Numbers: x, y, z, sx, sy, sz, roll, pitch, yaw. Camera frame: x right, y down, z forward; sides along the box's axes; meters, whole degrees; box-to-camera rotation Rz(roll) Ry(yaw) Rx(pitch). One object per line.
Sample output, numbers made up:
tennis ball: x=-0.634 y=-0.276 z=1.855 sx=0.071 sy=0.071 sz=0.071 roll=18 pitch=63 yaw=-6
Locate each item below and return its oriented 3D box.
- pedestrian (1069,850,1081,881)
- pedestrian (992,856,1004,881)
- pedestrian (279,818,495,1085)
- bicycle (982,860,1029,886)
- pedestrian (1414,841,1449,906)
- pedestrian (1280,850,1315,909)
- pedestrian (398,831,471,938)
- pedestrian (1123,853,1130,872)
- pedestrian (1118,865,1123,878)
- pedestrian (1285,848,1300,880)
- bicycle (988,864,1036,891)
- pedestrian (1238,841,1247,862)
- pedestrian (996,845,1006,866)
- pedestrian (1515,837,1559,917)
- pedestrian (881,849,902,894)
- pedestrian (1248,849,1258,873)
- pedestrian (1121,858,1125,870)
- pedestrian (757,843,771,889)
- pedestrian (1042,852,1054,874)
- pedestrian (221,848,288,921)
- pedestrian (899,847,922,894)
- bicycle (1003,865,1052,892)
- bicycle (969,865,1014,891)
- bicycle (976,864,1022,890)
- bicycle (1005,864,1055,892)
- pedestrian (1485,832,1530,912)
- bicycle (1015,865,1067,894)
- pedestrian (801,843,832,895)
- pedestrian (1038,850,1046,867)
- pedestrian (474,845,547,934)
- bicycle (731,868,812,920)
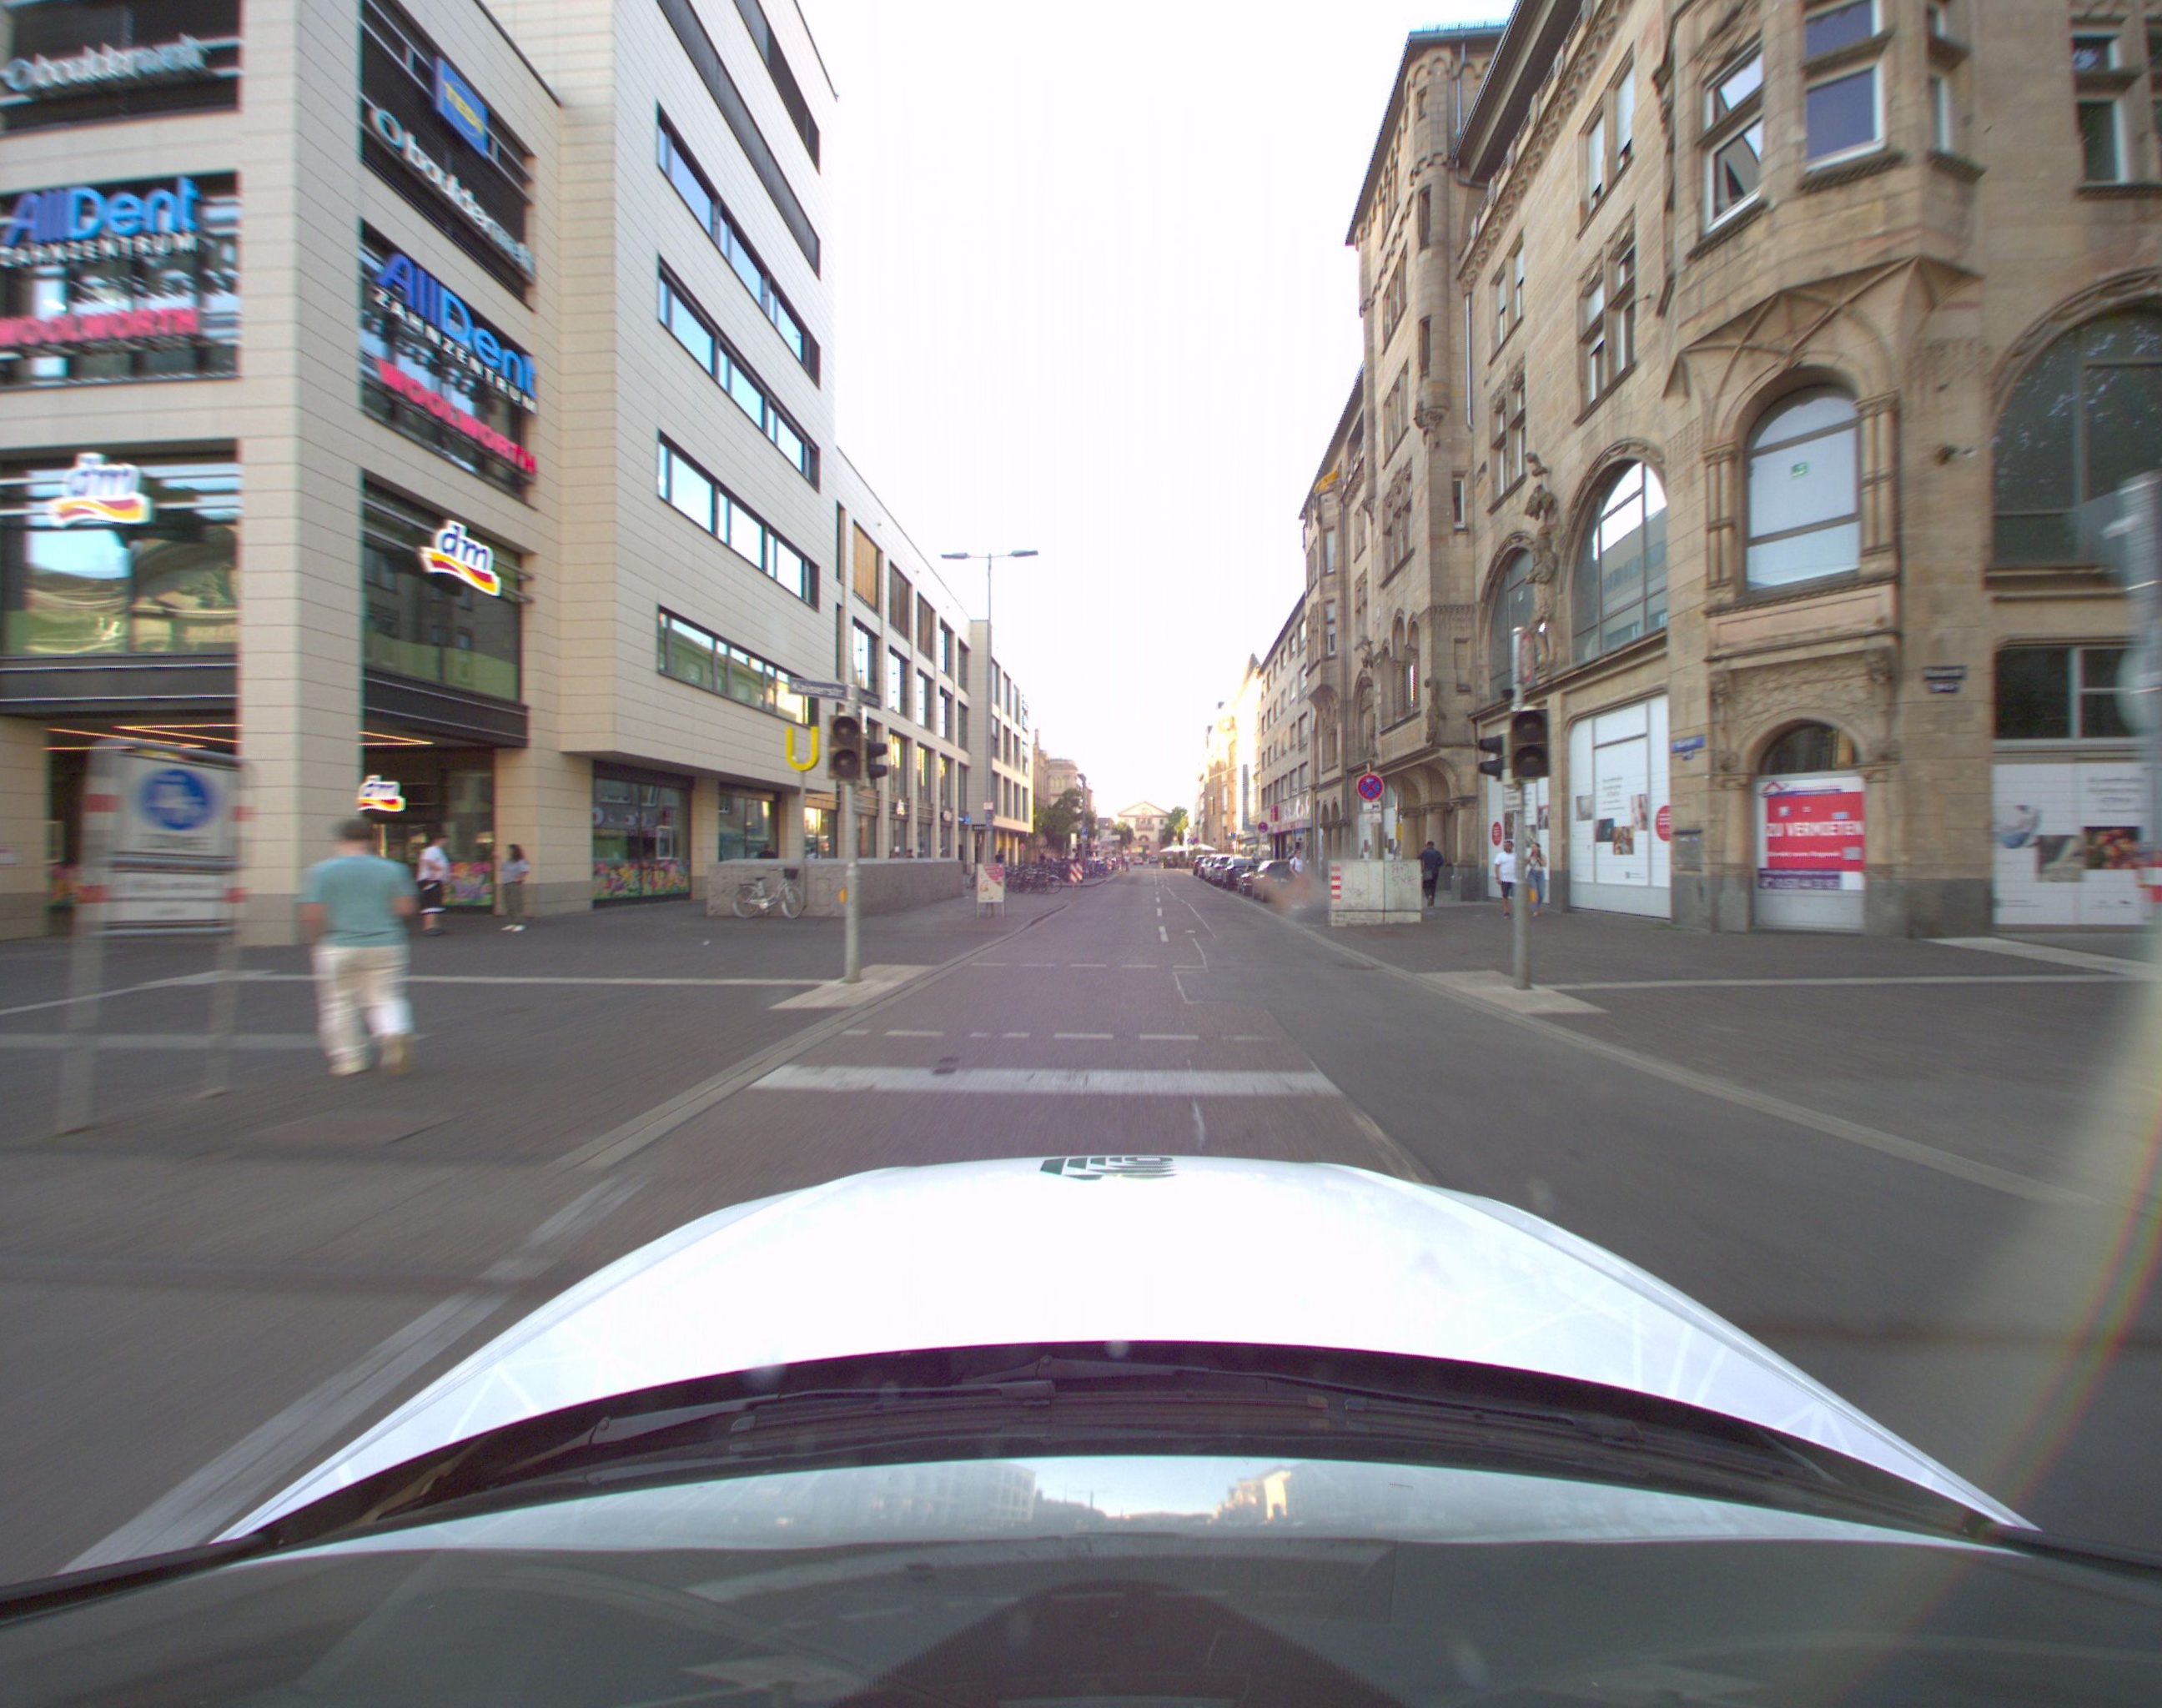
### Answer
pedestrian: x=-0.376 y=0.670 z=47.922 sx=0.656 sy=1.823 sz=0.527 roll=0 pitch=0 yaw=-6
pedestrian: x=-5.392 y=0.944 z=52.702 sx=0.676 sy=1.621 sz=0.574 roll=0 pitch=0 yaw=4
pedestrian: x=-4.916 y=0.650 z=5.844 sx=0.866 sy=1.761 sz=0.765 roll=1 pitch=0 yaw=-11
bicycle: x=-3.298 y=0.833 z=35.666 sx=1.976 sy=1.121 sz=0.554 roll=1 pitch=0 yaw=-24
pedestrian: x=9.170 y=0.501 z=21.320 sx=0.622 sy=1.690 sz=0.672 roll=0 pitch=0 yaw=3
pedestrian: x=6.390 y=0.746 z=24.108 sx=0.832 sy=1.720 sz=0.681 roll=0 pitch=0 yaw=-3
pedestrian: x=-11.611 y=0.525 z=14.644 sx=0.568 sy=1.855 sz=0.820 roll=1 pitch=0 yaw=17
pedestrian: x=4.232 y=0.803 z=75.982 sx=0.595 sy=1.823 sz=0.453 roll=0 pitch=0 yaw=12
pedestrian: x=4.681 y=2.094 z=96.826 sx=0.547 sy=1.486 sz=0.566 roll=0 pitch=0 yaw=3
pedestrian: x=11.300 y=0.534 z=43.555 sx=0.641 sy=1.690 sz=0.672 roll=0 pitch=0 yaw=3
bicycle: x=-2.956 y=1.030 z=34.995 sx=1.976 sy=1.121 sz=0.554 roll=1 pitch=0 yaw=-24
pedestrian: x=13.637 y=-0.227 z=68.950 sx=0.641 sy=1.746 sz=0.672 roll=0 pitch=0 yaw=3
pedestrian: x=-6.399 y=0.122 z=65.258 sx=0.727 sy=1.621 sz=0.662 roll=0 pitch=0 yaw=4
pedestrian: x=9.849 y=0.494 z=17.611 sx=0.622 sy=1.690 sz=0.626 roll=0 pitch=0 yaw=3
pedestrian: x=-6.986 y=0.640 z=29.979 sx=0.597 sy=1.646 sz=0.546 roll=1 pitch=0 yaw=2
pedestrian: x=13.221 y=0.516 z=62.704 sx=0.641 sy=1.800 sz=0.672 roll=0 pitch=0 yaw=3
pedestrian: x=4.922 y=1.188 z=95.639 sx=0.547 sy=1.486 sz=0.566 roll=0 pitch=0 yaw=3
pedestrian: x=-10.653 y=0.407 z=27.413 sx=0.390 sy=1.515 sz=0.503 roll=0 pitch=0 yaw=-16
pedestrian: x=-2.259 y=0.617 z=55.736 sx=0.748 sy=1.529 sz=0.485 roll=0 pitch=0 yaw=4
pedestrian: x=-17.747 y=0.638 z=17.502 sx=0.568 sy=1.526 sz=0.794 roll=1 pitch=0 yaw=17
pedestrian: x=-6.245 y=0.592 z=29.852 sx=0.678 sy=1.680 sz=0.600 roll=1 pitch=0 yaw=2
bicycle: x=-2.231 y=1.034 z=34.056 sx=1.976 sy=1.121 sz=0.554 roll=1 pitch=0 yaw=-24
bicycle: x=-4.053 y=1.099 z=36.905 sx=1.976 sy=1.121 sz=0.554 roll=1 pitch=0 yaw=-24
bicycle: x=-3.644 y=1.038 z=36.335 sx=1.976 sy=1.121 sz=0.554 roll=1 pitch=0 yaw=-24
bicycle: x=-2.091 y=0.990 z=33.379 sx=1.976 sy=1.121 sz=0.554 roll=1 pitch=0 yaw=-24
pedestrian: x=9.116 y=0.377 z=17.442 sx=0.622 sy=1.690 sz=0.672 roll=0 pitch=0 yaw=3
bicycle: x=-1.602 y=1.027 z=32.562 sx=1.976 sy=1.121 sz=0.554 roll=1 pitch=0 yaw=-24
pedestrian: x=-9.077 y=0.493 z=27.962 sx=0.779 sy=1.751 sz=0.600 roll=1 pitch=0 yaw=2
pedestrian: x=-3.715 y=0.463 z=78.390 sx=0.676 sy=1.621 sz=0.574 roll=0 pitch=0 yaw=4
pedestrian: x=-11.068 y=0.667 z=15.818 sx=0.760 sy=1.659 sz=0.820 roll=1 pitch=0 yaw=19
bicycle: x=-7.050 y=0.894 z=18.582 sx=1.687 sy=1.121 sz=0.452 roll=1 pitch=0 yaw=7
